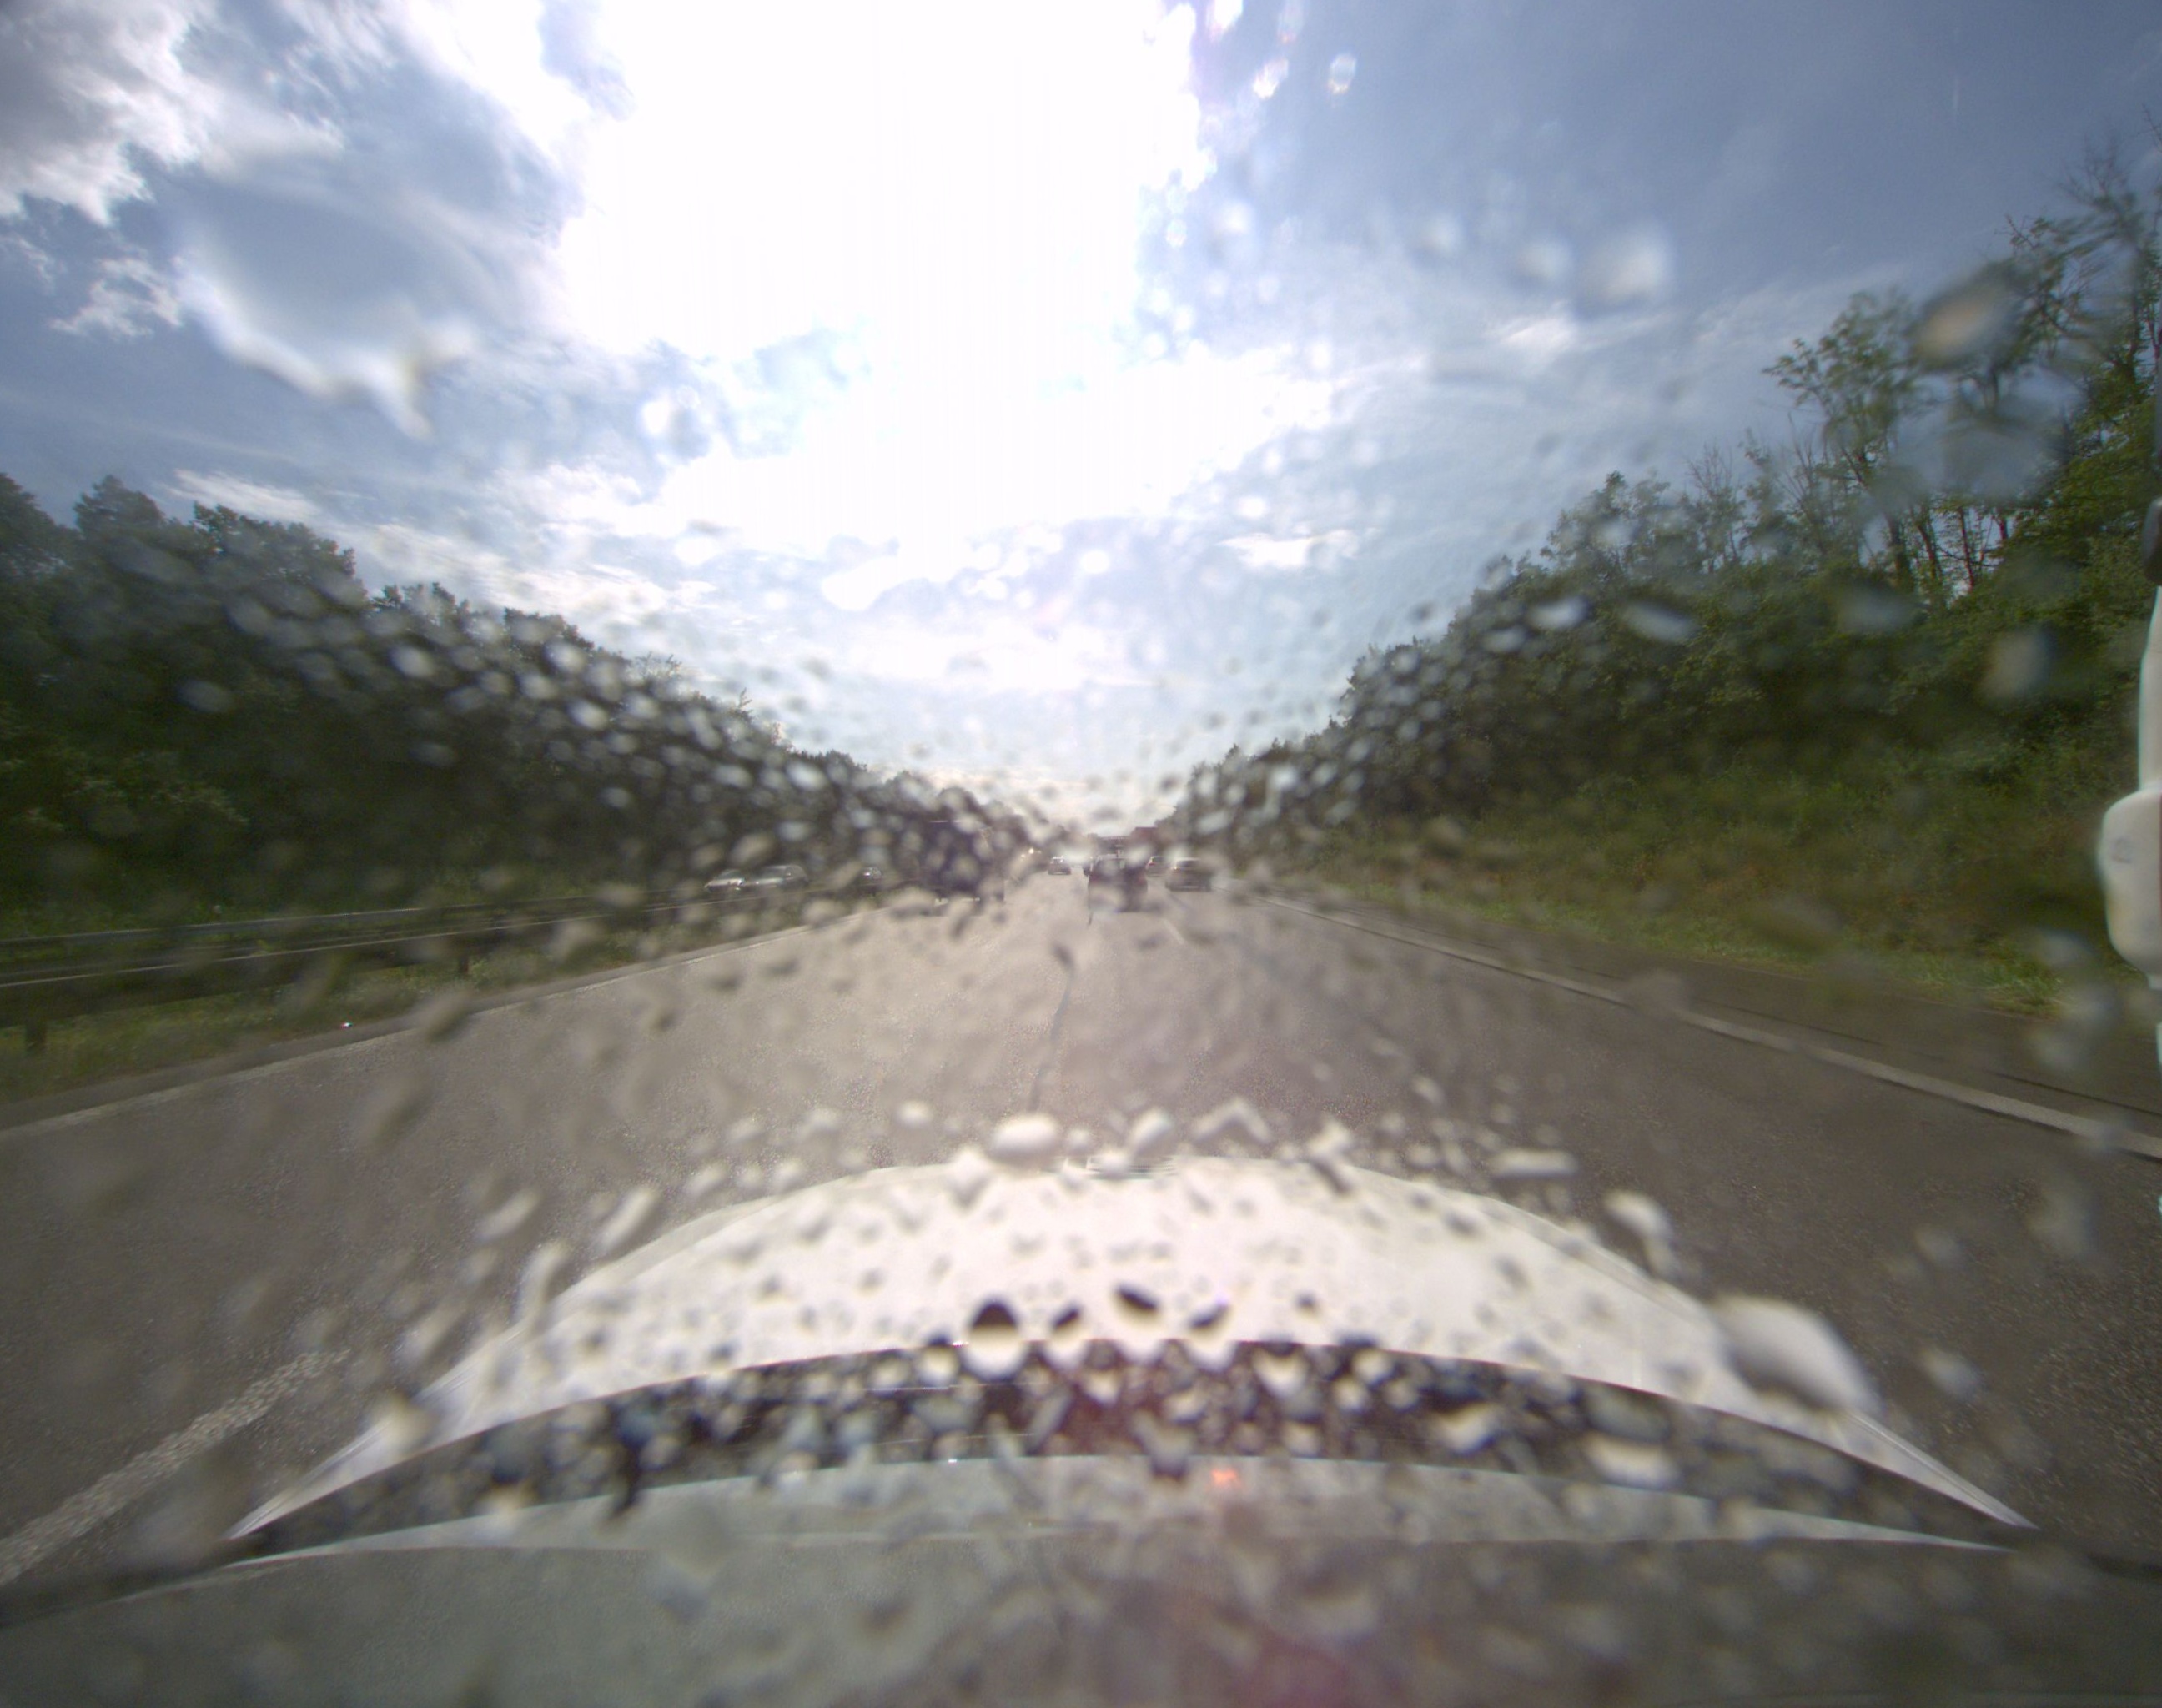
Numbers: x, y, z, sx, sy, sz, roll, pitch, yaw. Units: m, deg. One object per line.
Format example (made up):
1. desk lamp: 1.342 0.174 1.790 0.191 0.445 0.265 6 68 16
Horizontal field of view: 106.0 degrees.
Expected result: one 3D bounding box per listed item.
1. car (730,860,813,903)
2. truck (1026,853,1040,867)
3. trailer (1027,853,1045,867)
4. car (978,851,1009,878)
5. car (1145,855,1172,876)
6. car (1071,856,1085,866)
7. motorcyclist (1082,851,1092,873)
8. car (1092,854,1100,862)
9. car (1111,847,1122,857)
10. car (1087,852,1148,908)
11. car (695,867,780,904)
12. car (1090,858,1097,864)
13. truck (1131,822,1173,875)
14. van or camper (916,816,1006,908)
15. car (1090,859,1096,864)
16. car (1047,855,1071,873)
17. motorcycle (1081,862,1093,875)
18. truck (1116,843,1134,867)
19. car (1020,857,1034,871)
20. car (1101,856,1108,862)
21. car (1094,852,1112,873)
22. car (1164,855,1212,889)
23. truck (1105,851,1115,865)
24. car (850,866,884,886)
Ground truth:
1. car: -12.769 1.099 33.895 1.725 1.663 4.237 -1 0 1
2. truck: -12.802 1.616 218.150 2.978 3.831 6.869 0 -1 3
3. trailer: -12.301 1.679 226.454 2.978 3.831 17.966 0 0 3
4. car: -8.214 0.971 77.241 2.175 2.452 5.749 -1 -1 1
5. car: 5.656 0.835 59.638 1.674 1.442 3.906 -1 0 1
6. car: -0.420 0.999 114.354 1.745 1.457 3.390 -1 -1 1
7. motorcyclist: 0.465 0.615 62.947 0.799 1.633 1.013 -1 -1 1
8. car: 4.014 1.124 214.809 1.986 2.013 4.001 -2 0 1
9. car: 5.271 -0.335 120.918 1.547 1.383 3.210 -1 -1 1
10. car: 1.072 0.748 24.697 1.711 1.568 3.485 -1 -1 1
11. car: -16.527 1.471 39.459 2.009 1.663 4.699 -1 0 1
12. car: 2.633 1.462 170.550 1.479 1.390 3.199 -1 -1 1
13. truck: 6.951 -0.424 82.391 3.635 4.720 16.791 -1 0 3
14. van or camper: -3.751 0.244 26.397 1.986 2.669 5.386 -1 -1 1
15. car: 2.855 1.726 193.230 1.544 1.267 3.485 -1 0 1
16. car: -1.909 0.868 71.393 1.848 1.551 3.485 -1 -1 1
17. motorcycle: 0.456 1.116 62.986 0.887 1.000 2.897 -1 0 1
18. truck: 8.595 0.181 158.184 3.242 4.479 12.430 -1 0 3
19. car: -11.286 2.080 170.804 2.254 2.870 6.933 -1 -1 1
20. car: 6.888 1.554 237.796 1.986 1.701 4.001 -2 0 1
21. car: 1.889 0.762 71.130 1.526 1.746 3.485 -1 -1 1
22. car: 4.766 0.773 36.620 1.686 1.425 4.221 -1 0 1
23. truck: 6.190 0.826 174.514 2.184 2.875 4.850 -1 -1 1
24. car: -18.864 1.932 71.948 1.725 1.663 4.237 -1 0 1
